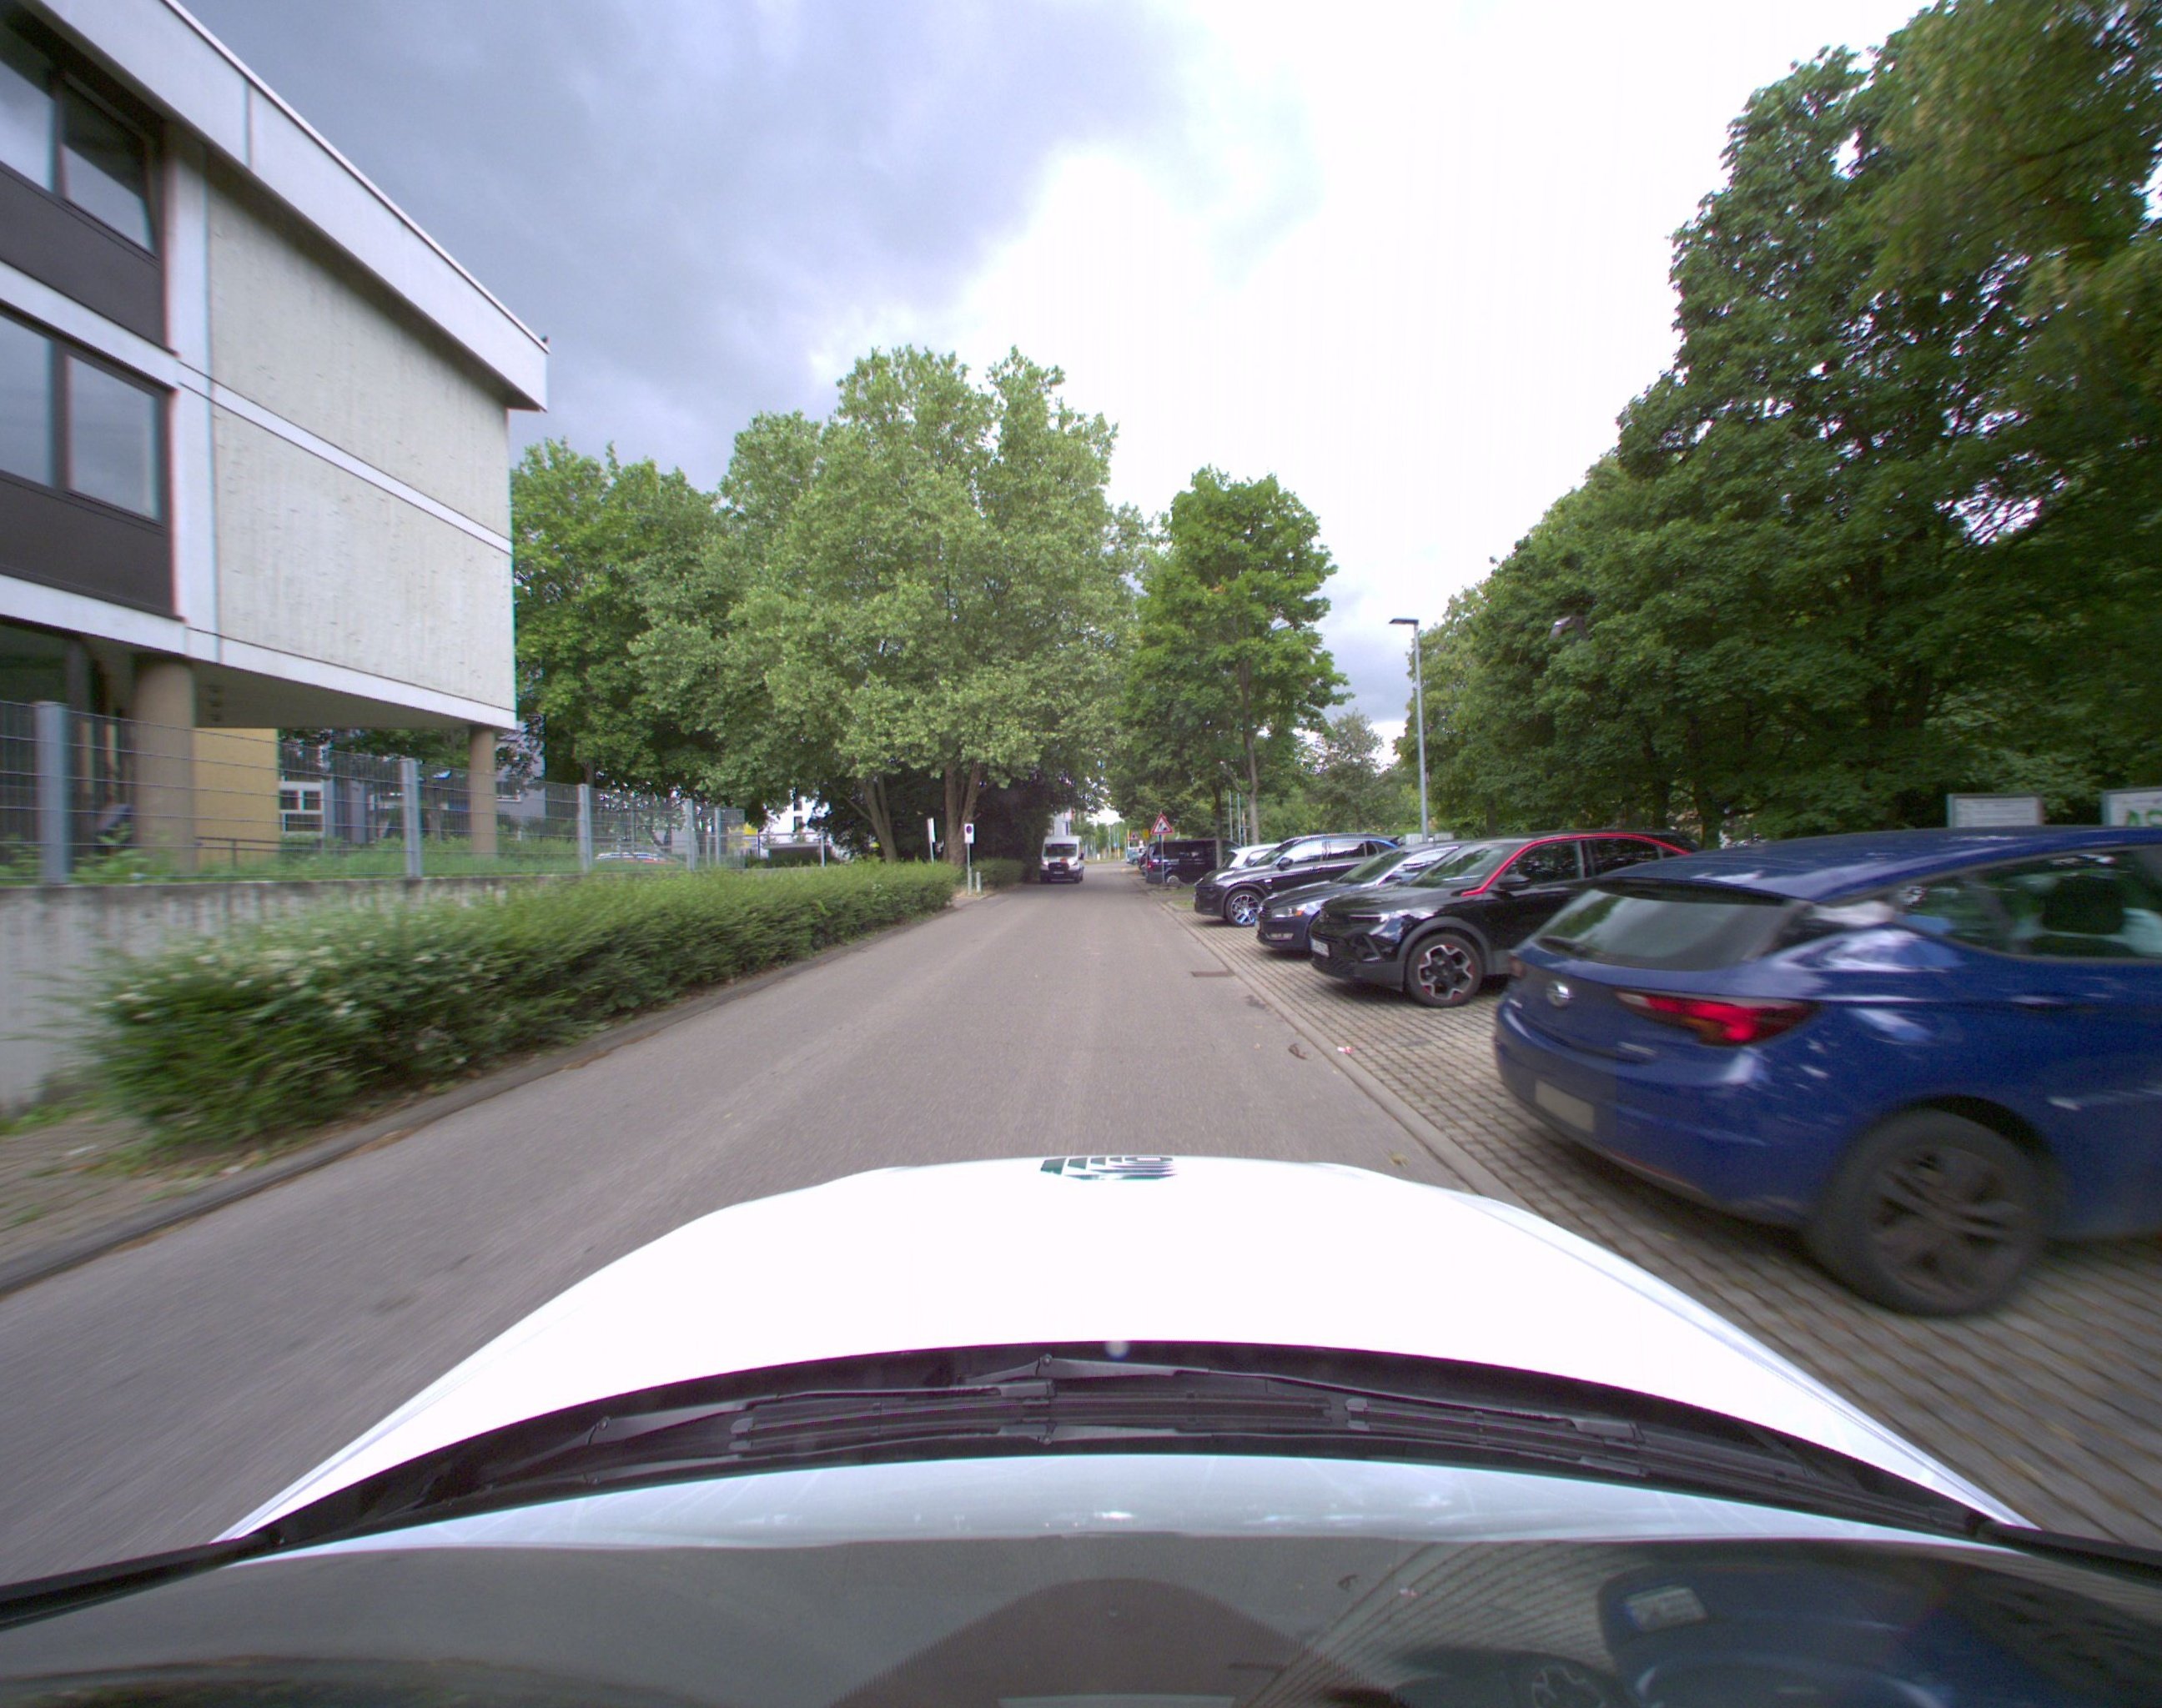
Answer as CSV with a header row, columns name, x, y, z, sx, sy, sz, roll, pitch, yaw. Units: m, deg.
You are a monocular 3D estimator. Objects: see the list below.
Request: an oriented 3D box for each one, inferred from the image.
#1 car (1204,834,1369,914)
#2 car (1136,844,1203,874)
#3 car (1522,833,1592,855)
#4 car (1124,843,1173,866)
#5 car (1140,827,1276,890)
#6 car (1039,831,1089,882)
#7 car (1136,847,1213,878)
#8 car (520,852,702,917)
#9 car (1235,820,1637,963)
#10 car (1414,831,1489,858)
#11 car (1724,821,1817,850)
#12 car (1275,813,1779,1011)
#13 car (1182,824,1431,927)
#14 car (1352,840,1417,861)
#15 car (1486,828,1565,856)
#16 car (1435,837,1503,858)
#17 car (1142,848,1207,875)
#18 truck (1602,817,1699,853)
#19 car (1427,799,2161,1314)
name,x,y,z,sx,sy,sz,roll,pitch,yaw
car,4.694,0.429,18.985,3.366,1.574,1.797,-4,0,1
car,5.684,0.323,52.476,4.104,1.650,1.983,-3,-1,5
car,35.897,-0.731,61.502,4.258,1.526,1.707,-2,-1,8
car,7.015,0.053,85.191,4.953,1.972,1.848,-4,0,2
car,4.870,0.175,31.894,4.934,2.013,2.167,-4,0,2
car,-0.814,0.128,42.994,2.123,2.476,6.282,-1,0,3
car,5.092,0.466,44.595,3.973,1.430,1.936,-3,-1,1
car,-12.986,0.778,22.648,1.802,1.611,4.024,-2,-1,44
car,4.603,0.465,11.190,4.617,1.517,1.984,-4,0,3
car,30.807,-0.766,67.886,5.289,2.057,2.142,-2,0,7
car,54.470,-1.405,64.434,5.289,2.057,2.142,-2,0,7
car,4.262,0.512,8.245,4.063,1.517,1.849,-3,0,-3
car,4.368,0.398,16.365,4.400,1.675,2.083,-4,0,1
car,23.489,-0.254,63.123,4.369,1.428,1.707,-2,-1,7
car,36.702,-0.968,67.317,5.289,2.057,2.142,-2,0,7
car,29.714,-0.451,62.484,4.403,1.428,1.707,-2,-1,8
car,5.680,0.458,49.760,3.814,1.358,1.824,-3,-1,5
truck,42.402,-1.380,60.792,5.475,2.426,2.197,-2,-1,8
car,3.864,0.544,3.344,4.057,1.456,1.852,-3,0,2
